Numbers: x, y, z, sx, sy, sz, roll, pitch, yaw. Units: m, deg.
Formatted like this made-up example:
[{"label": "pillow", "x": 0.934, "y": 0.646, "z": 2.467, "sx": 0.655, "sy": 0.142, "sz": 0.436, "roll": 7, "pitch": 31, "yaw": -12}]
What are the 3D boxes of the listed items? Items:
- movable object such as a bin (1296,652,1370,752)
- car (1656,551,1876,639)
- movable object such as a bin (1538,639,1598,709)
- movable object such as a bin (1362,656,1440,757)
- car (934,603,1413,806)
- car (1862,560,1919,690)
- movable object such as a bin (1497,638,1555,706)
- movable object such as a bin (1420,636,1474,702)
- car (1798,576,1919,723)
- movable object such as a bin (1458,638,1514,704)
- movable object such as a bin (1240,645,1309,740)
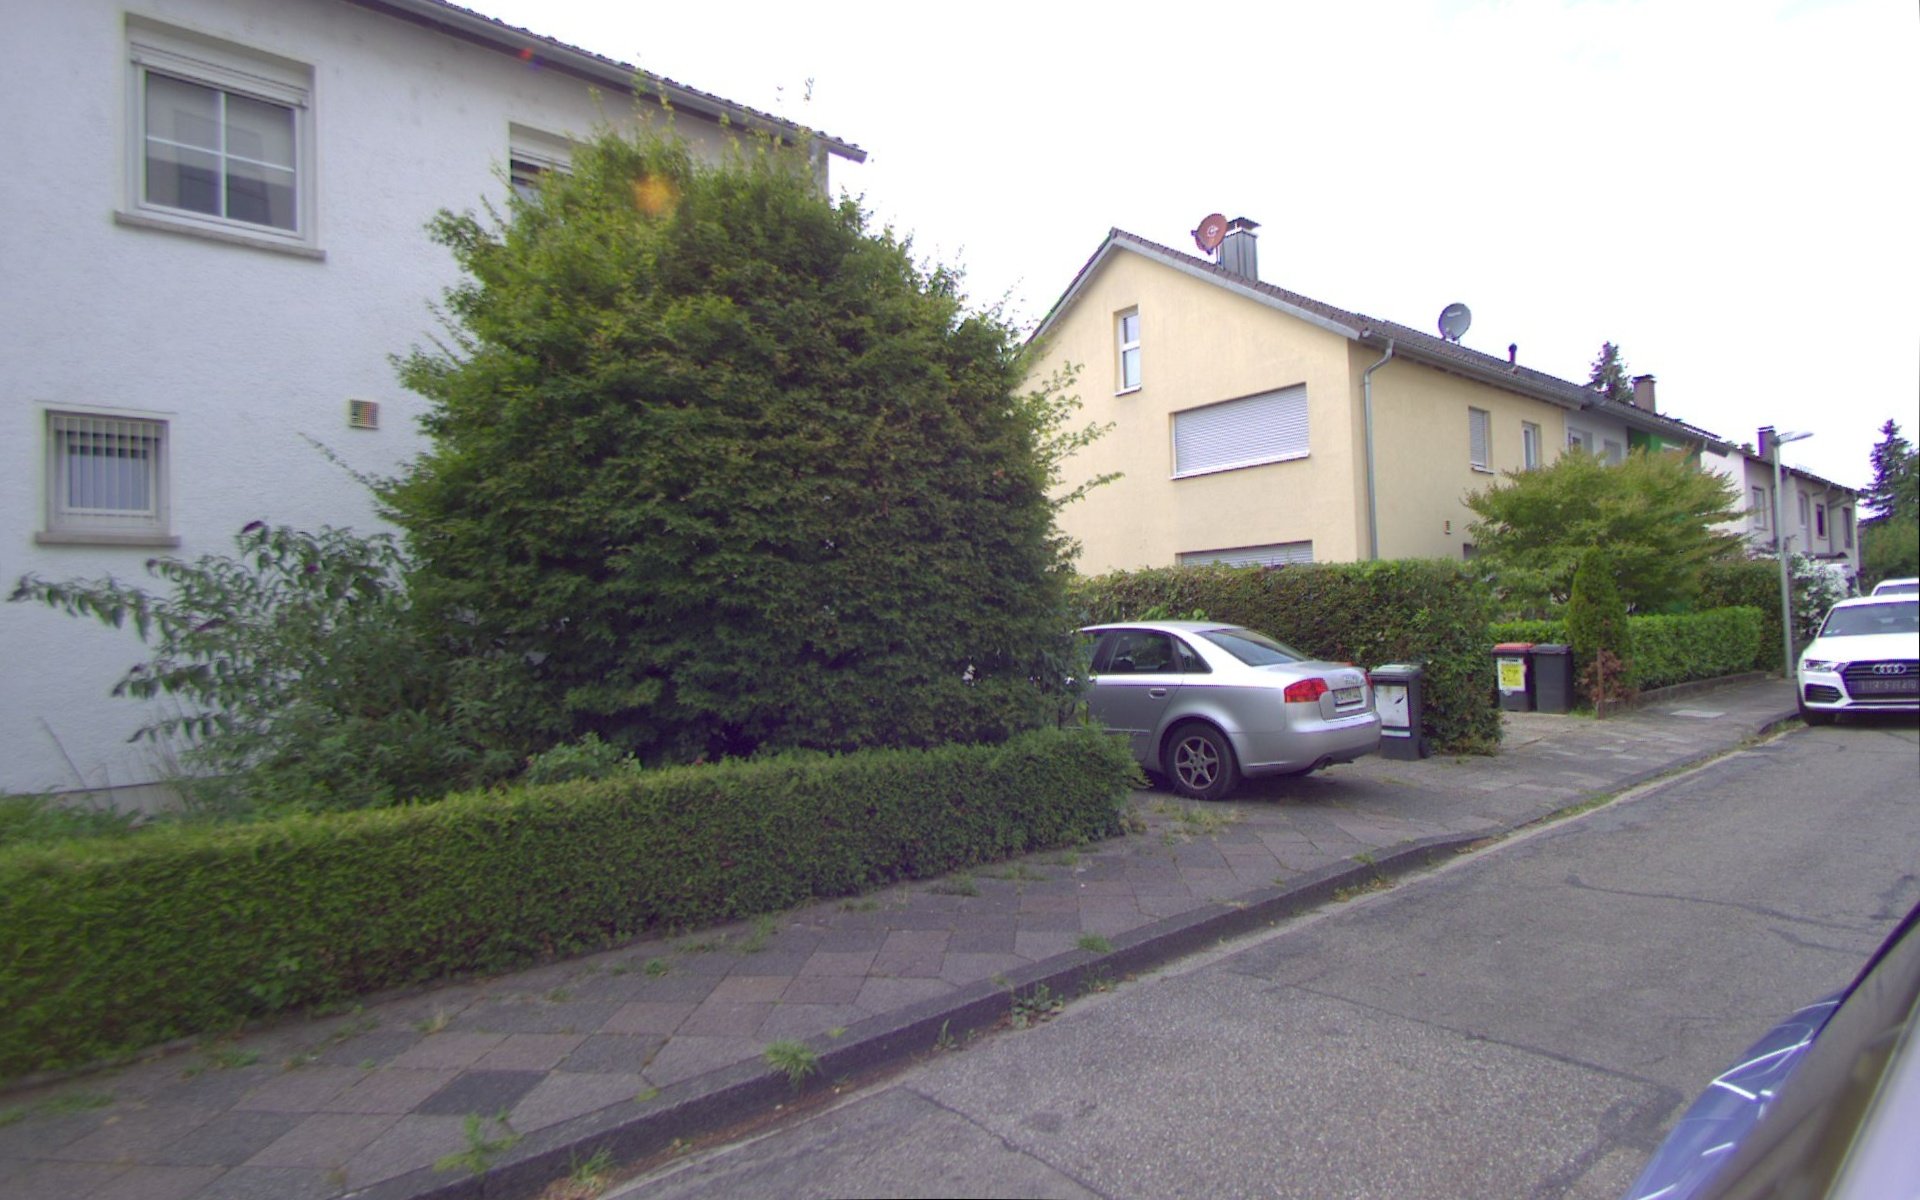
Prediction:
[{"label": "movable object such as a bin", "x": 3.880, "y": 1.042, "z": 10.532, "sx": 0.491, "sy": 0.979, "sz": 0.510, "roll": 0, "pitch": -2, "yaw": -40}, {"label": "car", "x": 25.575, "y": -0.131, "z": 32.295, "sx": 2.197, "sy": 2.575, "sz": 5.098, "roll": 0, "pitch": -1, "yaw": -39}, {"label": "movable object such as a bin", "x": 8.065, "y": 0.969, "z": 13.419, "sx": 0.519, "sy": 0.879, "sz": 0.510, "roll": 0, "pitch": -2, "yaw": -40}, {"label": "movable object such as a bin", "x": 4.358, "y": 1.036, "z": 10.008, "sx": 0.491, "sy": 0.933, "sz": 0.510, "roll": 0, "pitch": -2, "yaw": -40}, {"label": "car", "x": 1.798, "y": 0.764, "z": 9.383, "sx": 1.823, "sy": 1.445, "sz": 4.021, "roll": 0, "pitch": 0, "yaw": -45}, {"label": "car", "x": 16.887, "y": 0.331, "z": 16.922, "sx": 5.161, "sy": 1.990, "sz": 1.906, "roll": -1, "pitch": -3, "yaw": -41}, {"label": "movable object such as a bin", "x": 7.737, "y": 0.976, "z": 13.830, "sx": 0.519, "sy": 0.879, "sz": 0.510, "roll": 0, "pitch": -2, "yaw": -40}, {"label": "movable object such as a bin", "x": 7.054, "y": 0.991, "z": 14.659, "sx": 0.514, "sy": 0.917, "sz": 0.510, "roll": 0, "pitch": -2, "yaw": -40}, {"label": "car", "x": 12.245, "y": 0.544, "z": 12.871, "sx": 4.092, "sy": 1.657, "sz": 1.826, "roll": -1, "pitch": -3, "yaw": -43}, {"label": "movable object such as a bin", "x": 7.396, "y": 0.989, "z": 14.240, "sx": 0.519, "sy": 0.879, "sz": 0.510, "roll": 0, "pitch": -2, "yaw": -40}, {"label": "movable object such as a bin", "x": 3.436, "y": 0.991, "z": 11.061, "sx": 0.491, "sy": 0.979, "sz": 0.510, "roll": 0, "pitch": -2, "yaw": -40}]
